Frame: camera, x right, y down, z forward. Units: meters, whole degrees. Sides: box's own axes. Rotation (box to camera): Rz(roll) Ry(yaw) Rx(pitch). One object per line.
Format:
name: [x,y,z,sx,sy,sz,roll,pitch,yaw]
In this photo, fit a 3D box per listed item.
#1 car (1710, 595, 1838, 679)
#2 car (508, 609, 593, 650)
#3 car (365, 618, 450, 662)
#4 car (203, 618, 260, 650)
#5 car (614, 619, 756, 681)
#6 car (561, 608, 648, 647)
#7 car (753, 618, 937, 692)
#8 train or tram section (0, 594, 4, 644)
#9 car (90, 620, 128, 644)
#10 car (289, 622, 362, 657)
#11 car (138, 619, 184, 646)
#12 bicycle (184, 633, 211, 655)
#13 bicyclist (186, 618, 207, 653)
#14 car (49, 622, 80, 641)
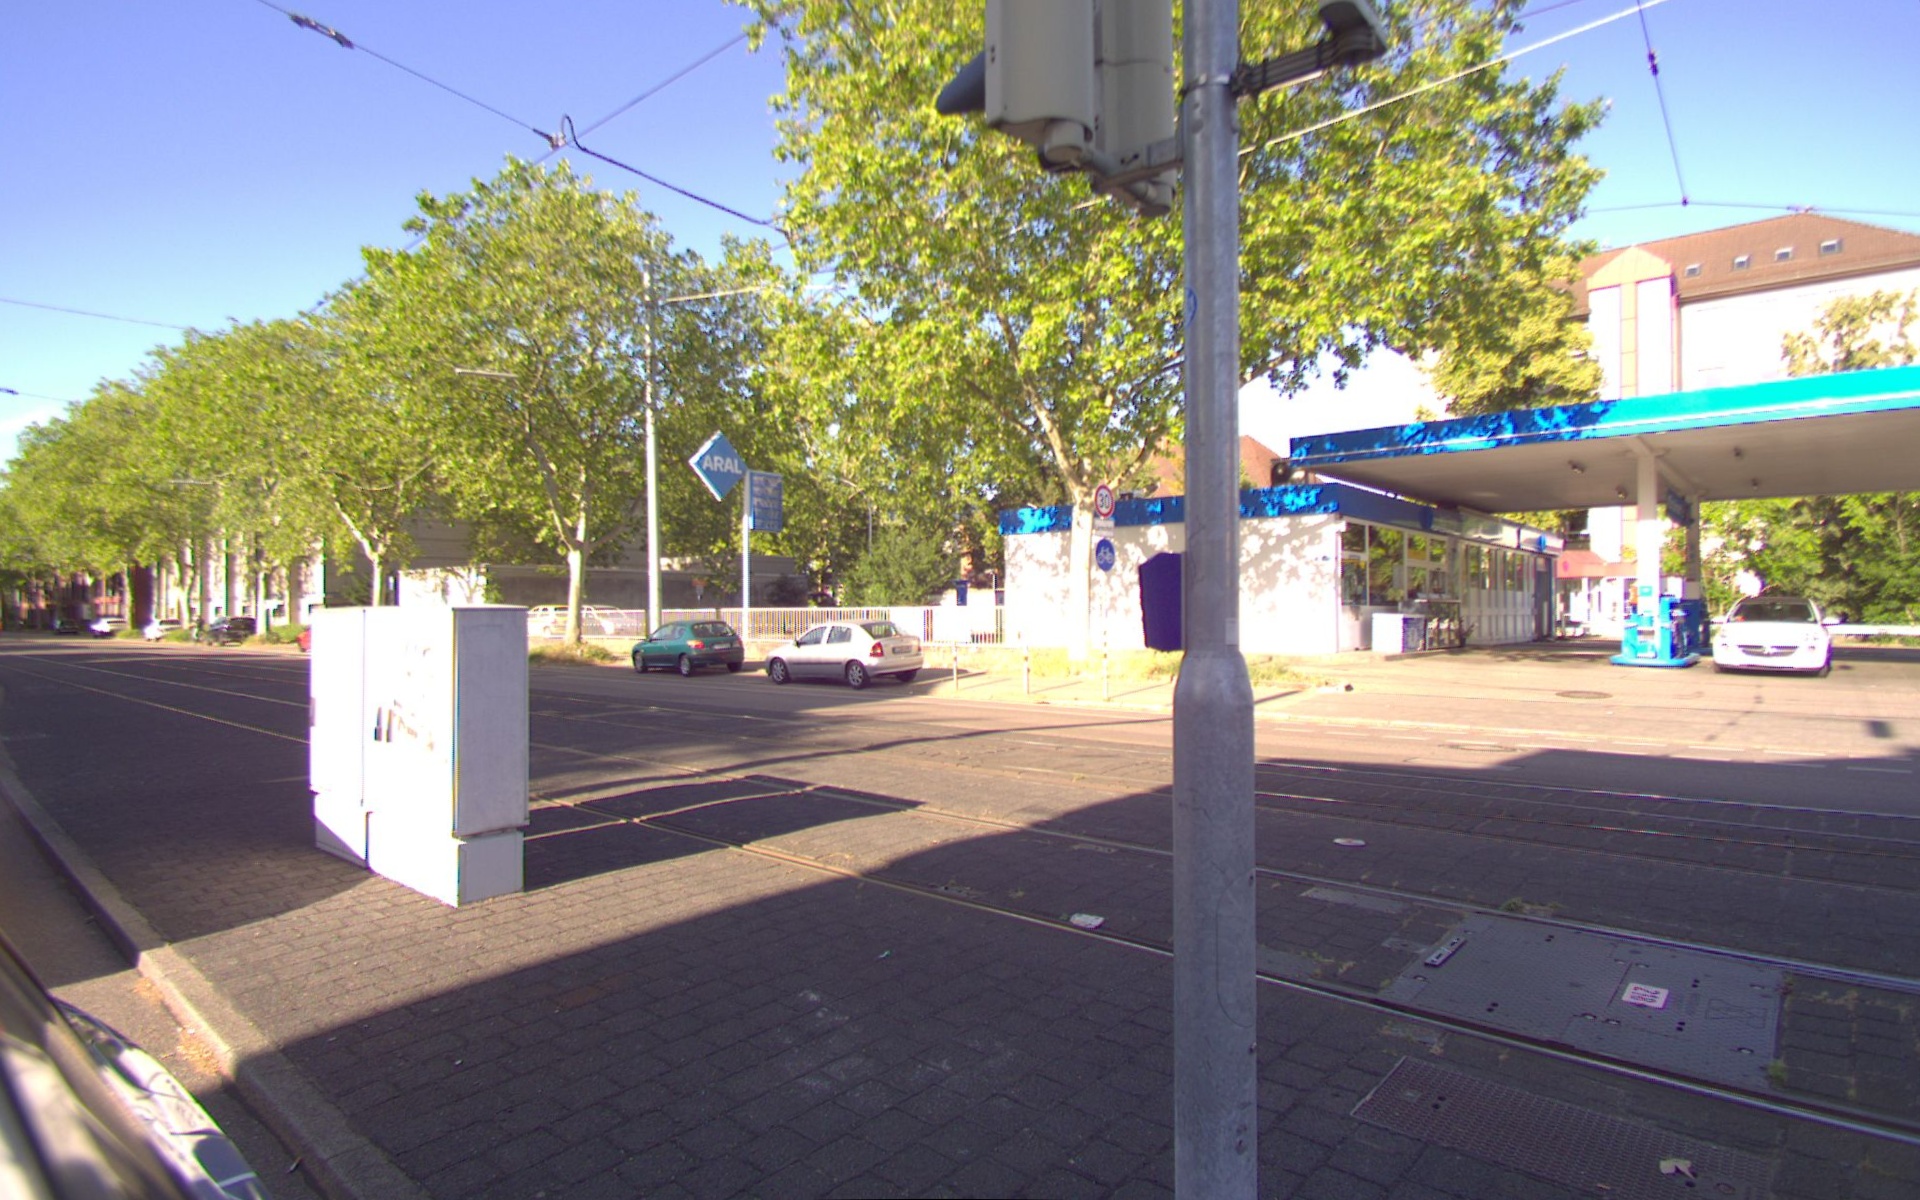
car: [16.019,0.687,19.875,1.780,1.475,3.946,-1,-1,40]
car: [-17.136,1.197,42.272,4.002,1.545,1.820,-1,1,45]
car: [-21.967,1.542,40.179,4.002,1.545,1.820,-1,1,45]
car: [-40.659,1.886,56.473,4.098,1.628,1.821,-1,1,44]
car: [-7.432,1.276,27.127,4.138,1.418,1.820,-1,1,45]
car: [-15.395,1.174,43.765,3.999,1.545,1.822,-1,1,42]
car: [-2.625,1.179,22.637,3.997,1.418,1.823,-1,1,40]
train or tram section: [-71.780,1.399,72.997,10.173,3.503,2.827,-1,0,39]
car: [-66.946,2.490,79.570,4.098,1.686,1.821,-1,1,44]
car: [-28.967,1.775,46.172,4.001,1.418,1.821,-1,1,44]
car: [-53.842,2.161,68.198,4.098,1.686,1.821,-1,1,44]
bicycle: [-41.466,2.371,55.035,2.532,1.129,0.645,-1,-1,41]
bicyclist: [-41.523,1.946,55.038,1.070,1.878,0.711,-1,-2,41]
car: [-85.043,2.948,96.093,4.098,1.686,1.821,-1,1,44]
